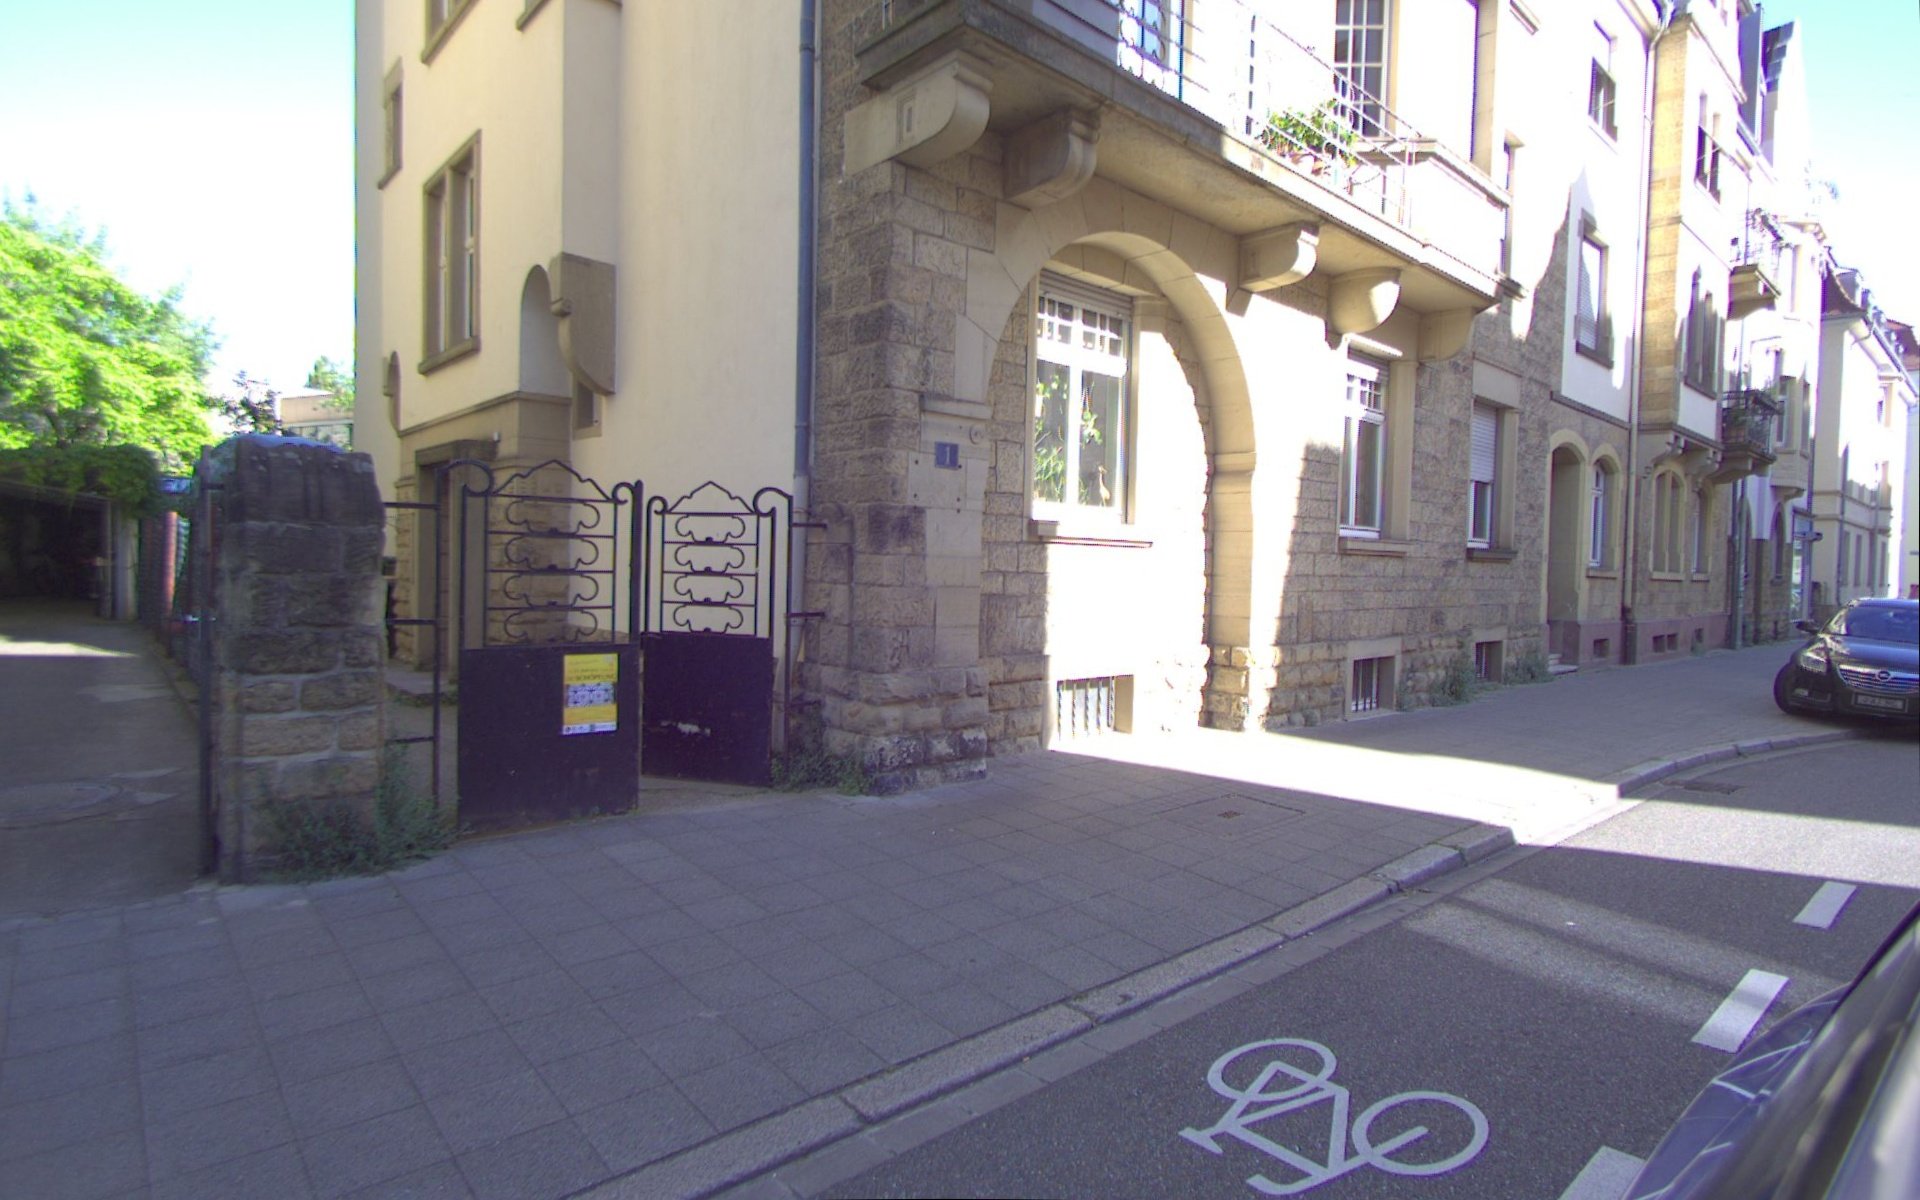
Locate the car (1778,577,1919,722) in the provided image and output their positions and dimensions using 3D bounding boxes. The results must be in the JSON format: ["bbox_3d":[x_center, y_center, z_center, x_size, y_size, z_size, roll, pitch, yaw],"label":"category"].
[{"bbox_3d":[11.532,0.520,12.254,4.265,1.480,1.869,0,3,-42],"label":"car"}]

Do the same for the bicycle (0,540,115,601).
[{"bbox_3d":[-18.366,-0.607,20.455,2.834,1.124,0.865,3,2,25],"label":"bicycle"}]

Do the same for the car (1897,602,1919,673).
[{"bbox_3d":[19.354,0.710,19.526,3.876,1.270,1.694,0,2,-45],"label":"car"}]

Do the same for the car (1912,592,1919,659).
[{"bbox_3d":[22.535,0.573,22.566,1.787,1.447,3.746,3,2,44],"label":"car"}]

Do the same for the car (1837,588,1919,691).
[{"bbox_3d":[15.390,0.580,16.124,4.186,1.460,1.654,0,3,-43],"label":"car"}]
